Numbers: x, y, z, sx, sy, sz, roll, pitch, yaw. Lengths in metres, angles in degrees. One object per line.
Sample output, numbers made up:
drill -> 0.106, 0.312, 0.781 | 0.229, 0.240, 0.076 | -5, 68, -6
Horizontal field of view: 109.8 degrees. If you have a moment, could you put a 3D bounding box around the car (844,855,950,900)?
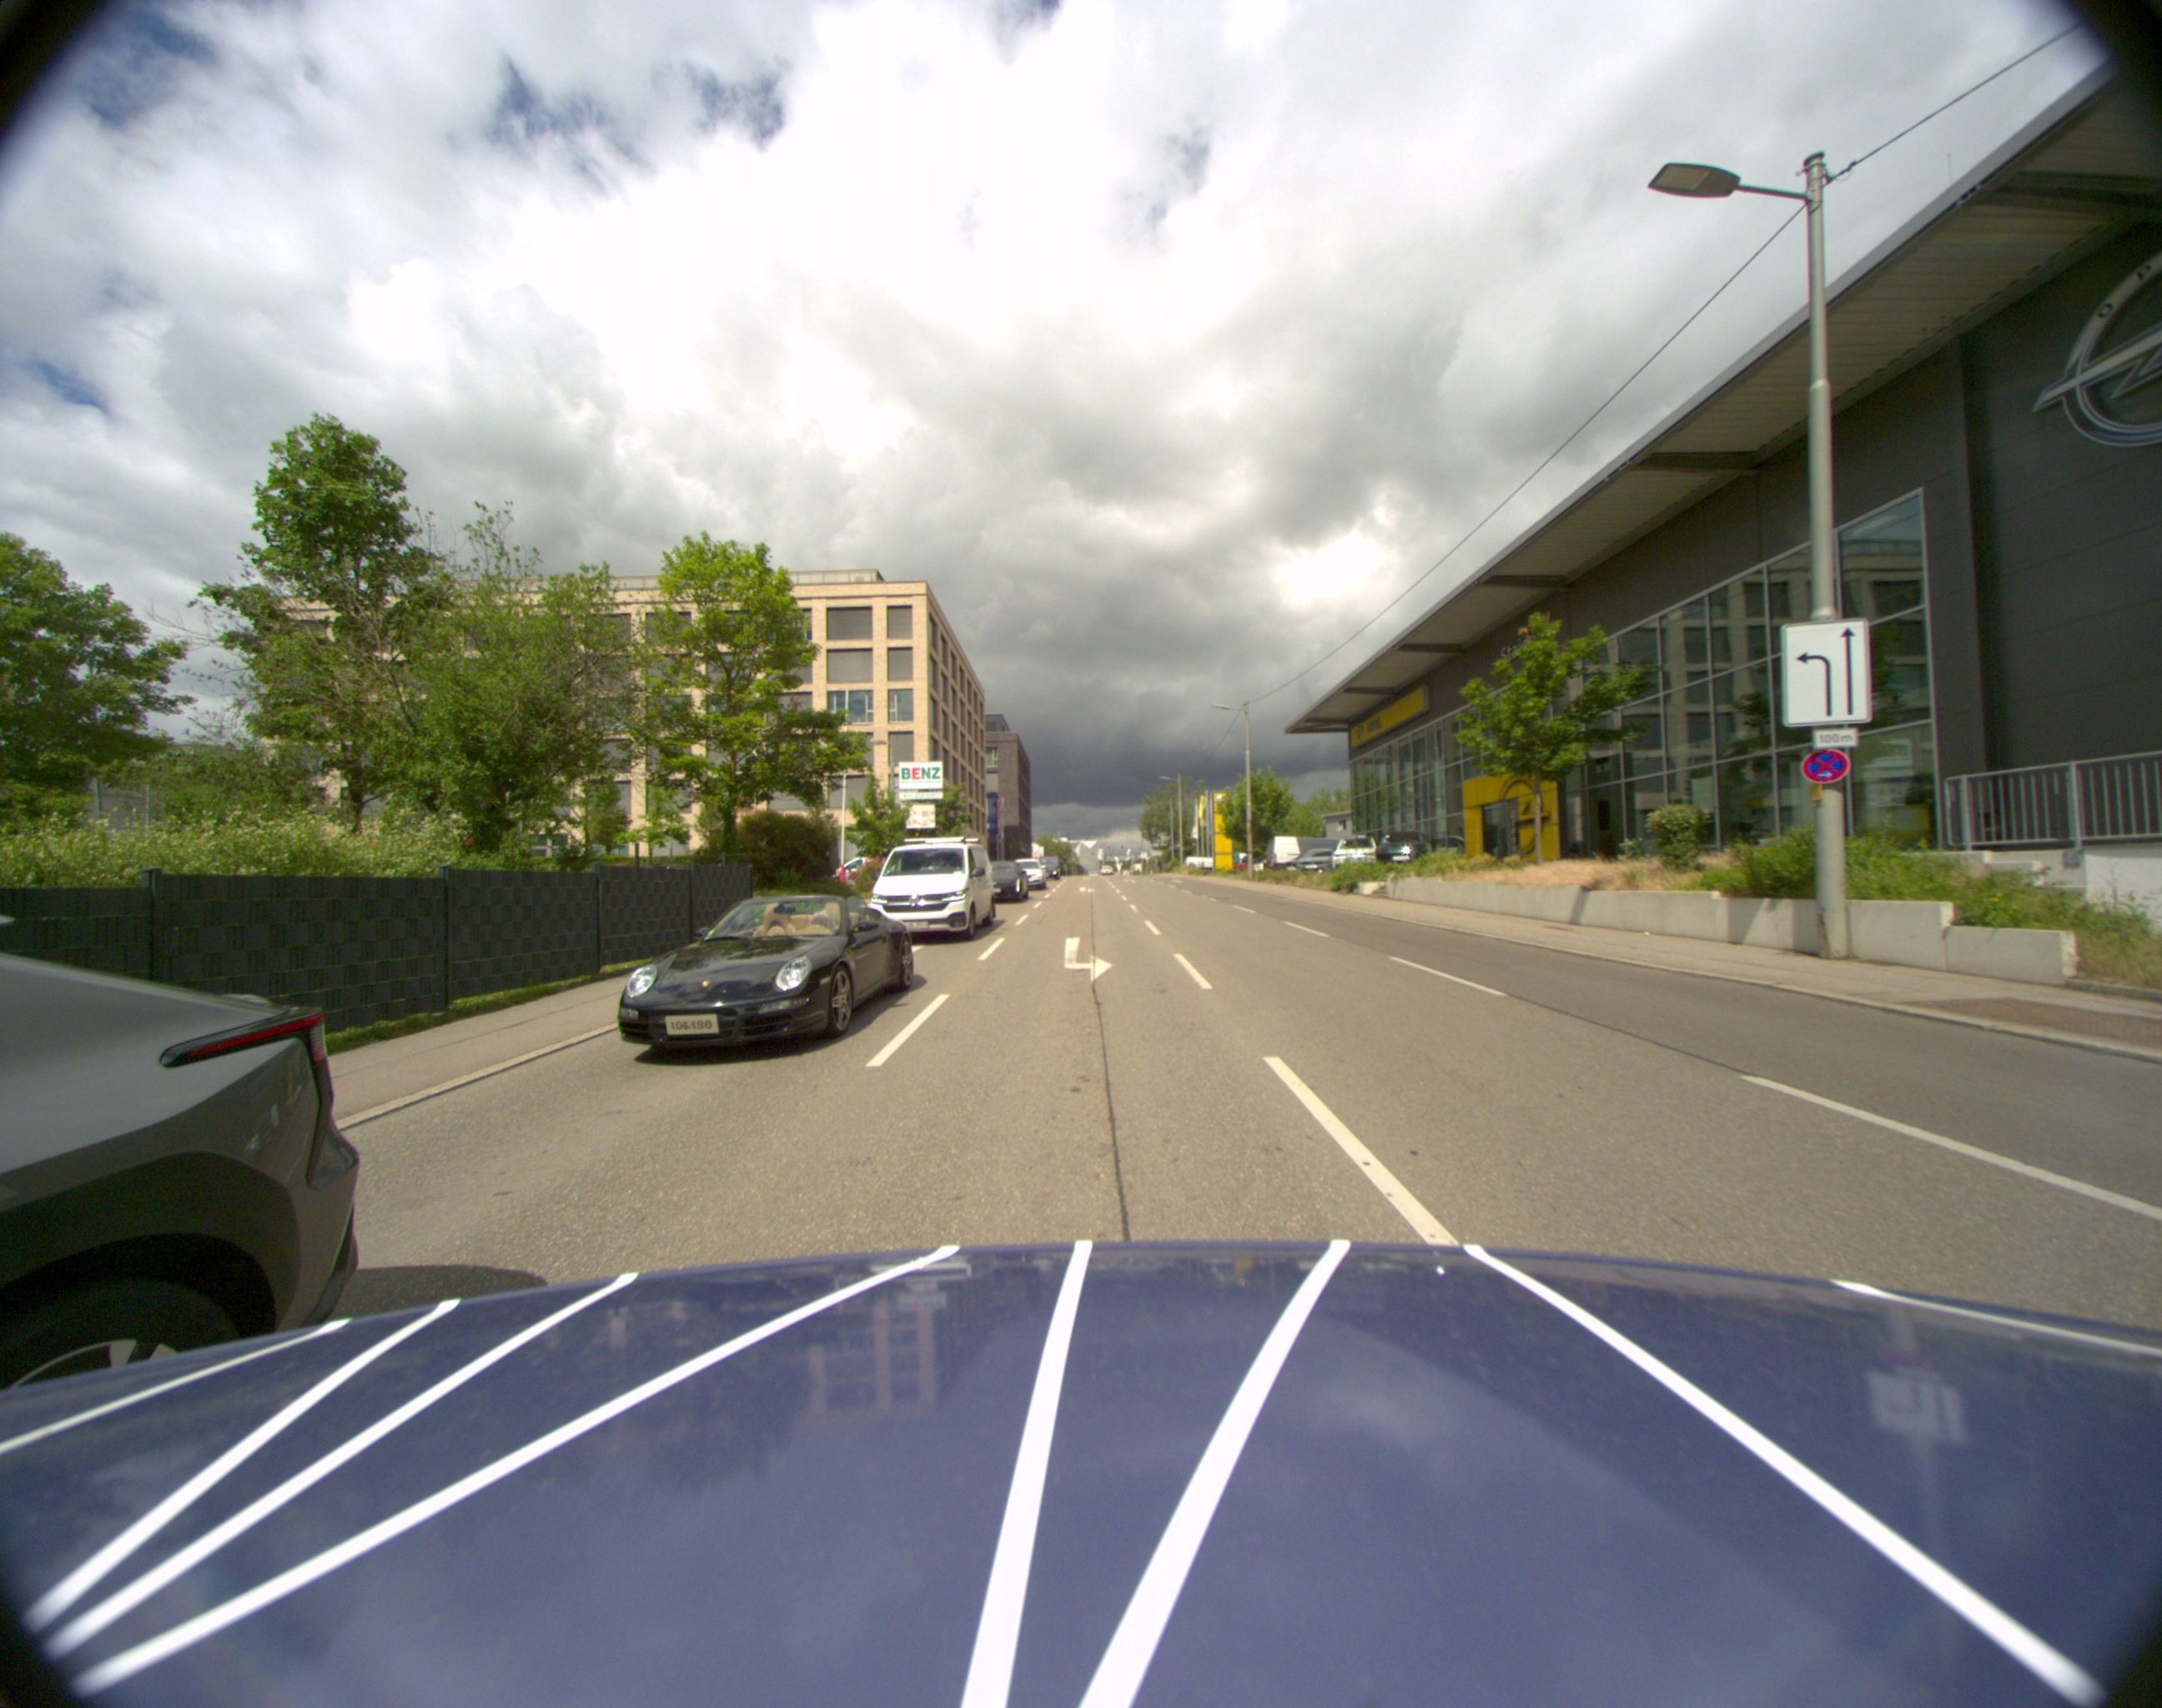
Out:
car -> -7.628, 0.956, 31.769 | 3.998, 1.723, 1.822 | -1, 1, -3

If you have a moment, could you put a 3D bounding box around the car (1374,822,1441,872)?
car -> 12.338, -0.256, 28.929 | 1.996, 1.718, 4.005 | -1, 0, 18

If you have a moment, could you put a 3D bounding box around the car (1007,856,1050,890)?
car -> -2.590, 0.893, 38.428 | 1.818, 1.577, 4.000 | -1, 0, 1

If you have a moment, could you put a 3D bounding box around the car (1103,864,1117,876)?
car -> 4.519, 2.449, 117.095 | 1.998, 1.731, 4.547 | -2, 0, 1

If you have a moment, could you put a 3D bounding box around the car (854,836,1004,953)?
car -> -3.011, 0.728, 16.189 | 2.089, 2.037, 4.760 | -2, 0, 1

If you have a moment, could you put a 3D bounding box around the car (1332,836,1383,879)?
car -> 12.170, 0.125, 33.440 | 1.995, 1.783, 4.006 | -1, 0, 21

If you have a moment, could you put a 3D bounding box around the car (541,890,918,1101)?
car -> -3.038, 1.150, 7.652 | 1.824, 1.286, 4.038 | -2, 0, 1

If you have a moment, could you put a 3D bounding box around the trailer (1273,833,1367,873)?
trailer -> 14.454, -0.072, 46.173 | 5.074, 2.336, 2.000 | -1, 1, -1

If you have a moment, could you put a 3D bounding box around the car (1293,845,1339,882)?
car -> 12.109, 0.465, 39.014 | 1.995, 1.783, 4.006 | -1, 0, 21

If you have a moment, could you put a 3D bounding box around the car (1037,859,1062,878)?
car -> -2.375, 1.110, 58.607 | 1.662, 1.351, 4.000 | -1, 0, 1

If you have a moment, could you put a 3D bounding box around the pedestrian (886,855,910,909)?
pedestrian -> -5.705, 0.877, 23.695 | 0.632, 1.648, 0.443 | -1, 1, -1

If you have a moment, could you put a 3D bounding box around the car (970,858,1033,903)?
car -> -2.827, 0.910, 27.888 | 1.818, 1.454, 4.000 | -1, 0, 1
